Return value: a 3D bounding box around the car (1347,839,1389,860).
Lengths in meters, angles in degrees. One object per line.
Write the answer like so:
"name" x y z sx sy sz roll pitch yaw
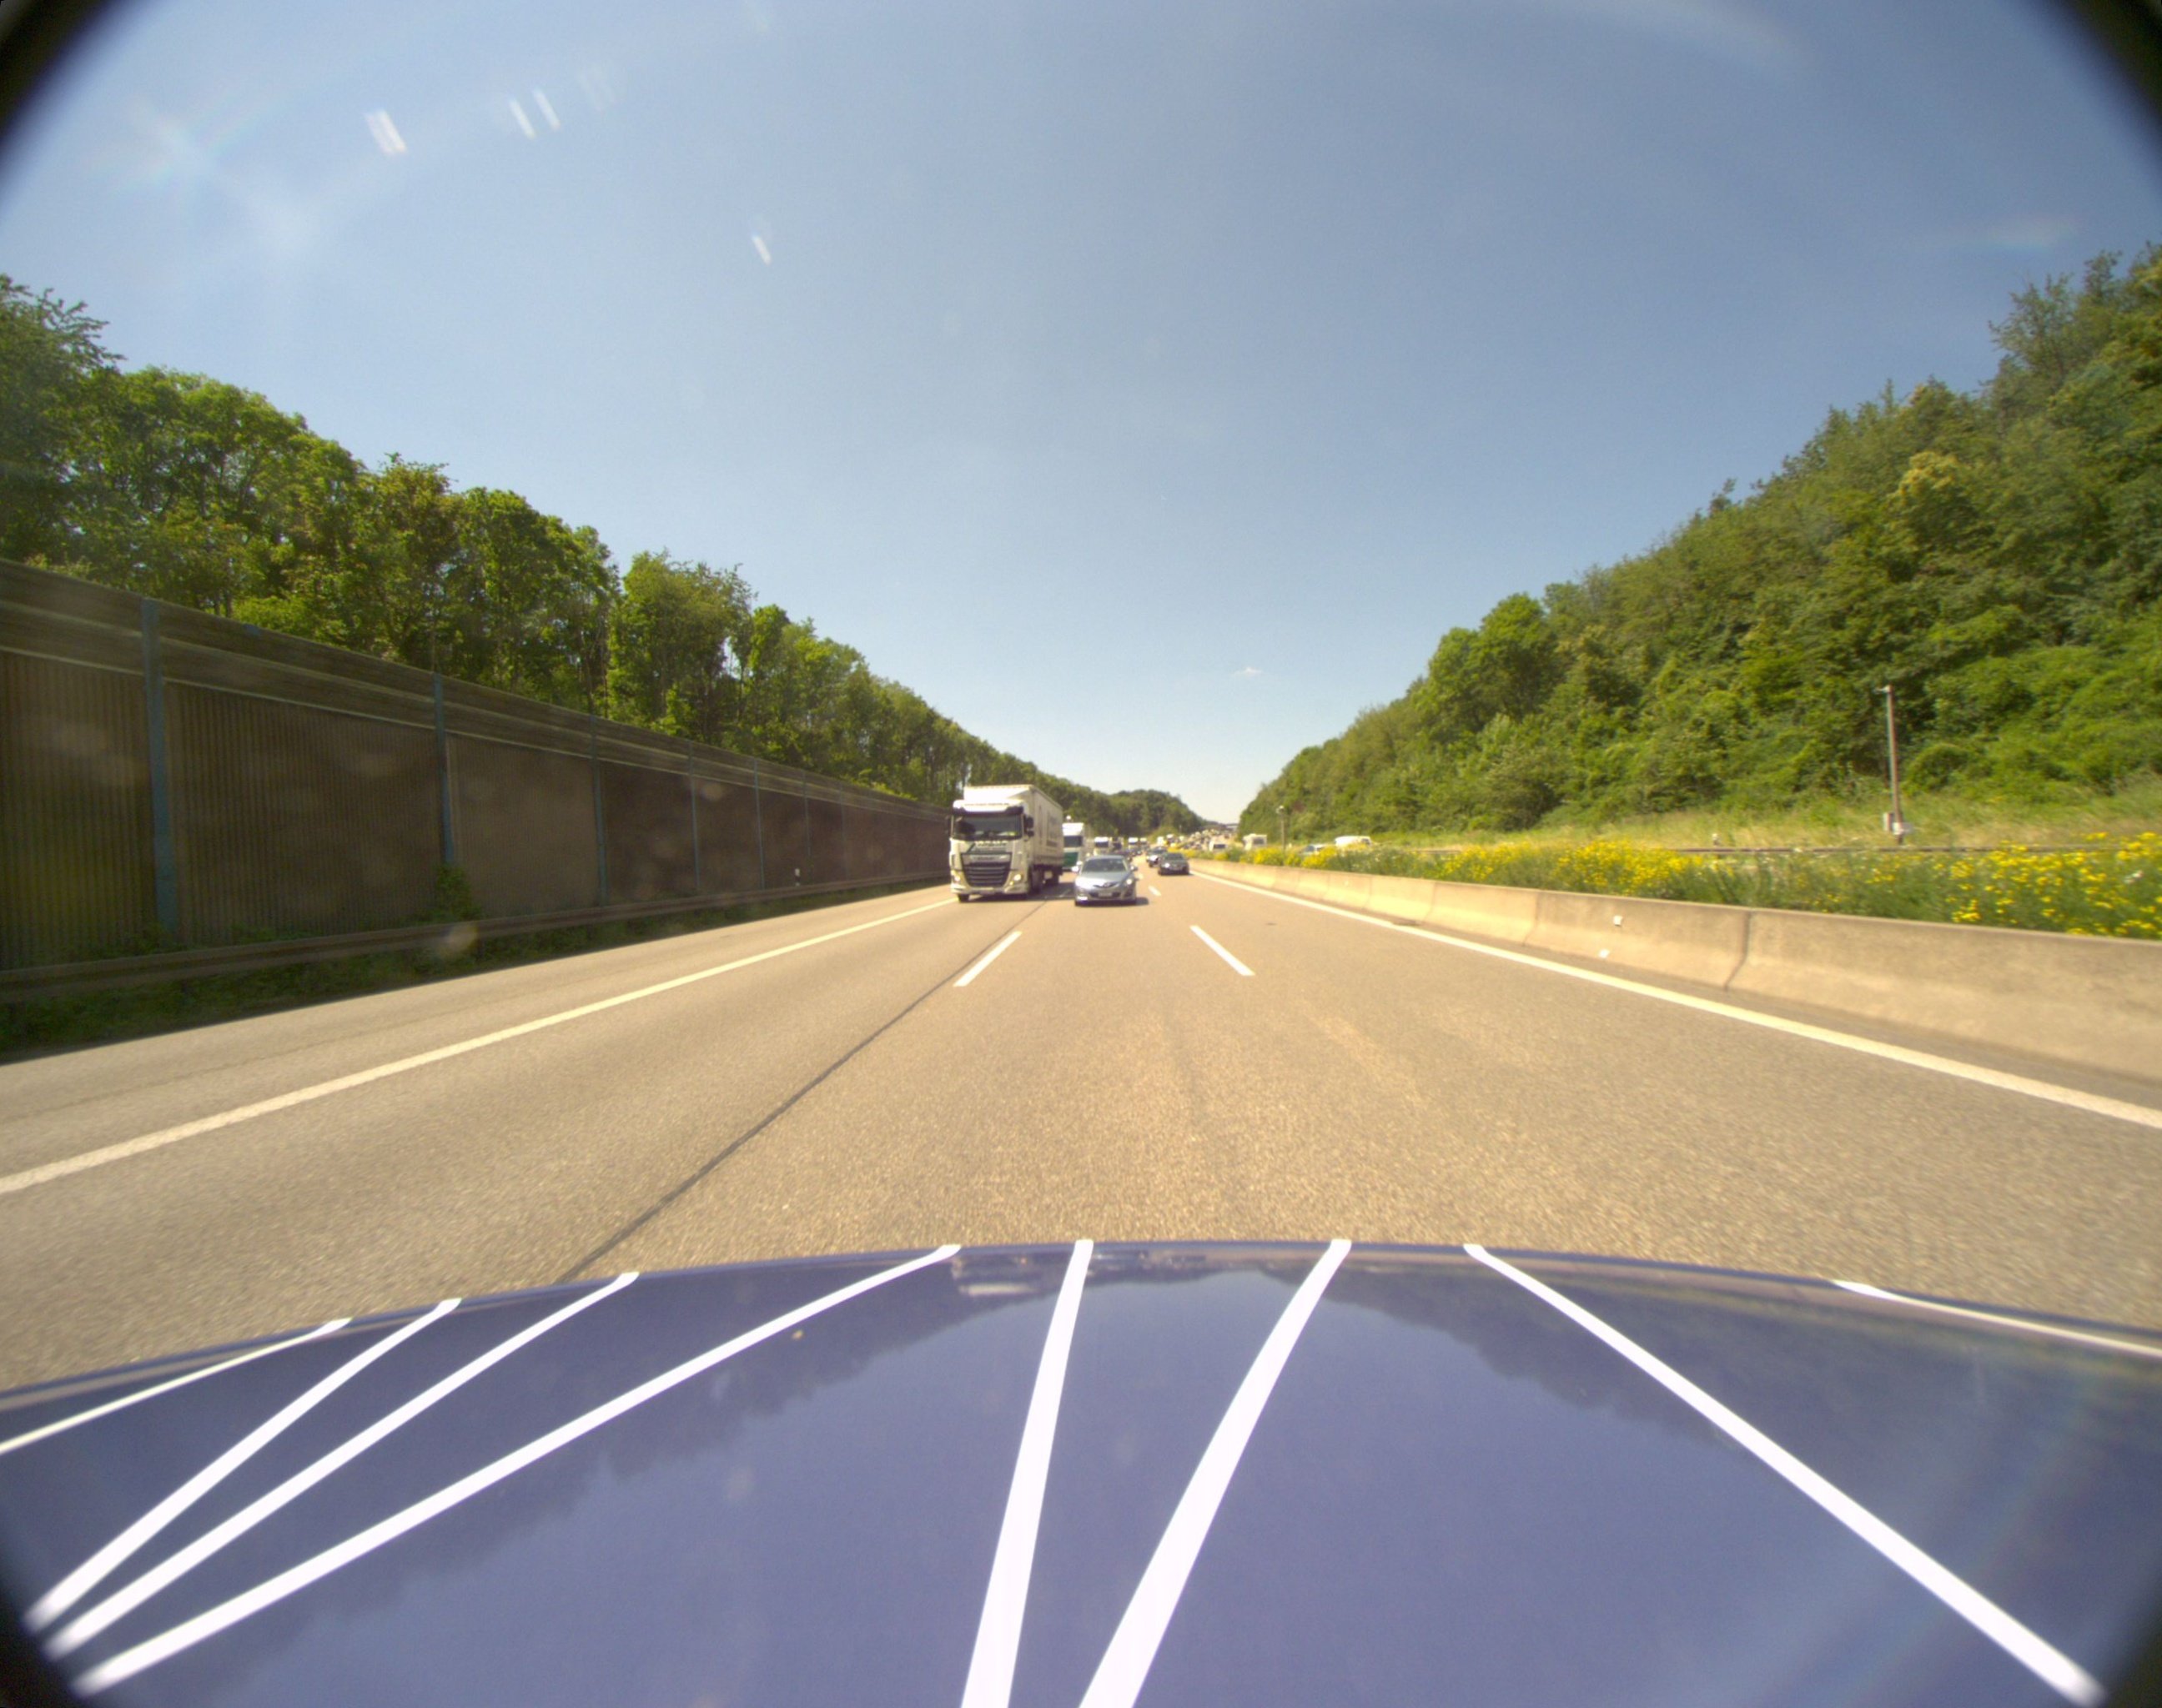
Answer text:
"car" 21.406 -0.362 56.784 1.780 1.483 3.999 -2 2 2

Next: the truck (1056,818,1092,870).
"truck" -0.470 -0.892 63.540 2.541 4.007 6.624 -2 2 3

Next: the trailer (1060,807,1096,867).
"trailer" -0.110 -1.676 71.972 2.574 5.012 15.269 -2 2 2

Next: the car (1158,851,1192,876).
"car" 5.810 0.557 47.445 1.720 1.470 4.000 -2 1 2

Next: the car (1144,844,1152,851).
"car" 18.965 -1.802 215.948 1.997 1.728 4.001 -1 2 8

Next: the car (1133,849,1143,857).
"car" 12.347 -0.238 163.736 1.997 1.728 4.001 -1 2 7

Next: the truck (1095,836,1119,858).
"truck" 4.307 -1.234 125.398 3.261 3.337 6.865 -1 2 7

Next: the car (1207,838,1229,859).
"car" 19.270 -0.776 106.882 2.205 2.725 5.747 -2 0 2

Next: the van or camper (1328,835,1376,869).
"van or camper" 17.088 -0.139 48.065 1.696 2.001 4.213 -2 1 3

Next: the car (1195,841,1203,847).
"car" 37.230 -3.160 239.482 1.998 1.581 4.162 -1 2 4

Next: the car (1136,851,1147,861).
"car" 11.389 0.351 142.831 1.997 1.728 4.001 -1 2 7

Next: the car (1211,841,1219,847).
"car" 38.022 -2.819 215.936 1.792 1.448 4.000 -1 2 4

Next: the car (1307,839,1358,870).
"car" 13.754 -0.025 41.766 1.883 1.555 3.682 -1 2 5

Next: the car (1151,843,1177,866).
"car" 7.485 0.014 69.142 1.998 2.002 3.999 -2 2 2

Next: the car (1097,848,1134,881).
"car" 1.936 0.533 41.748 1.887 1.696 4.085 -2 0 4

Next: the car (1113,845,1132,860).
"car" 4.326 -0.154 79.367 1.802 1.521 3.796 -2 0 1

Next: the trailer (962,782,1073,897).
"trailer" -2.422 -0.552 34.776 2.792 4.180 13.247 -2 0 5

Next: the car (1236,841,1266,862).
"car" 14.345 -0.231 64.317 1.711 1.655 4.080 -2 2 3

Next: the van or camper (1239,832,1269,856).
"van or camper" 24.780 -1.498 109.000 2.546 3.299 9.001 -2 2 3

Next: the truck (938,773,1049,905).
"truck" -2.973 -0.479 27.575 2.792 4.180 5.871 -2 0 5

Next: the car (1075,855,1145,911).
"car" 0.876 0.800 23.078 1.887 1.459 4.248 -2 0 2

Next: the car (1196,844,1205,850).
"car" 32.569 -1.809 206.828 1.998 1.578 4.274 -1 1 4

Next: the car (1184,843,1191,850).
"car" 33.762 -2.479 241.121 1.997 2.002 4.001 -1 2 6

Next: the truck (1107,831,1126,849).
"truck" 7.350 -2.934 157.022 3.557 3.695 7.552 -1 2 6
